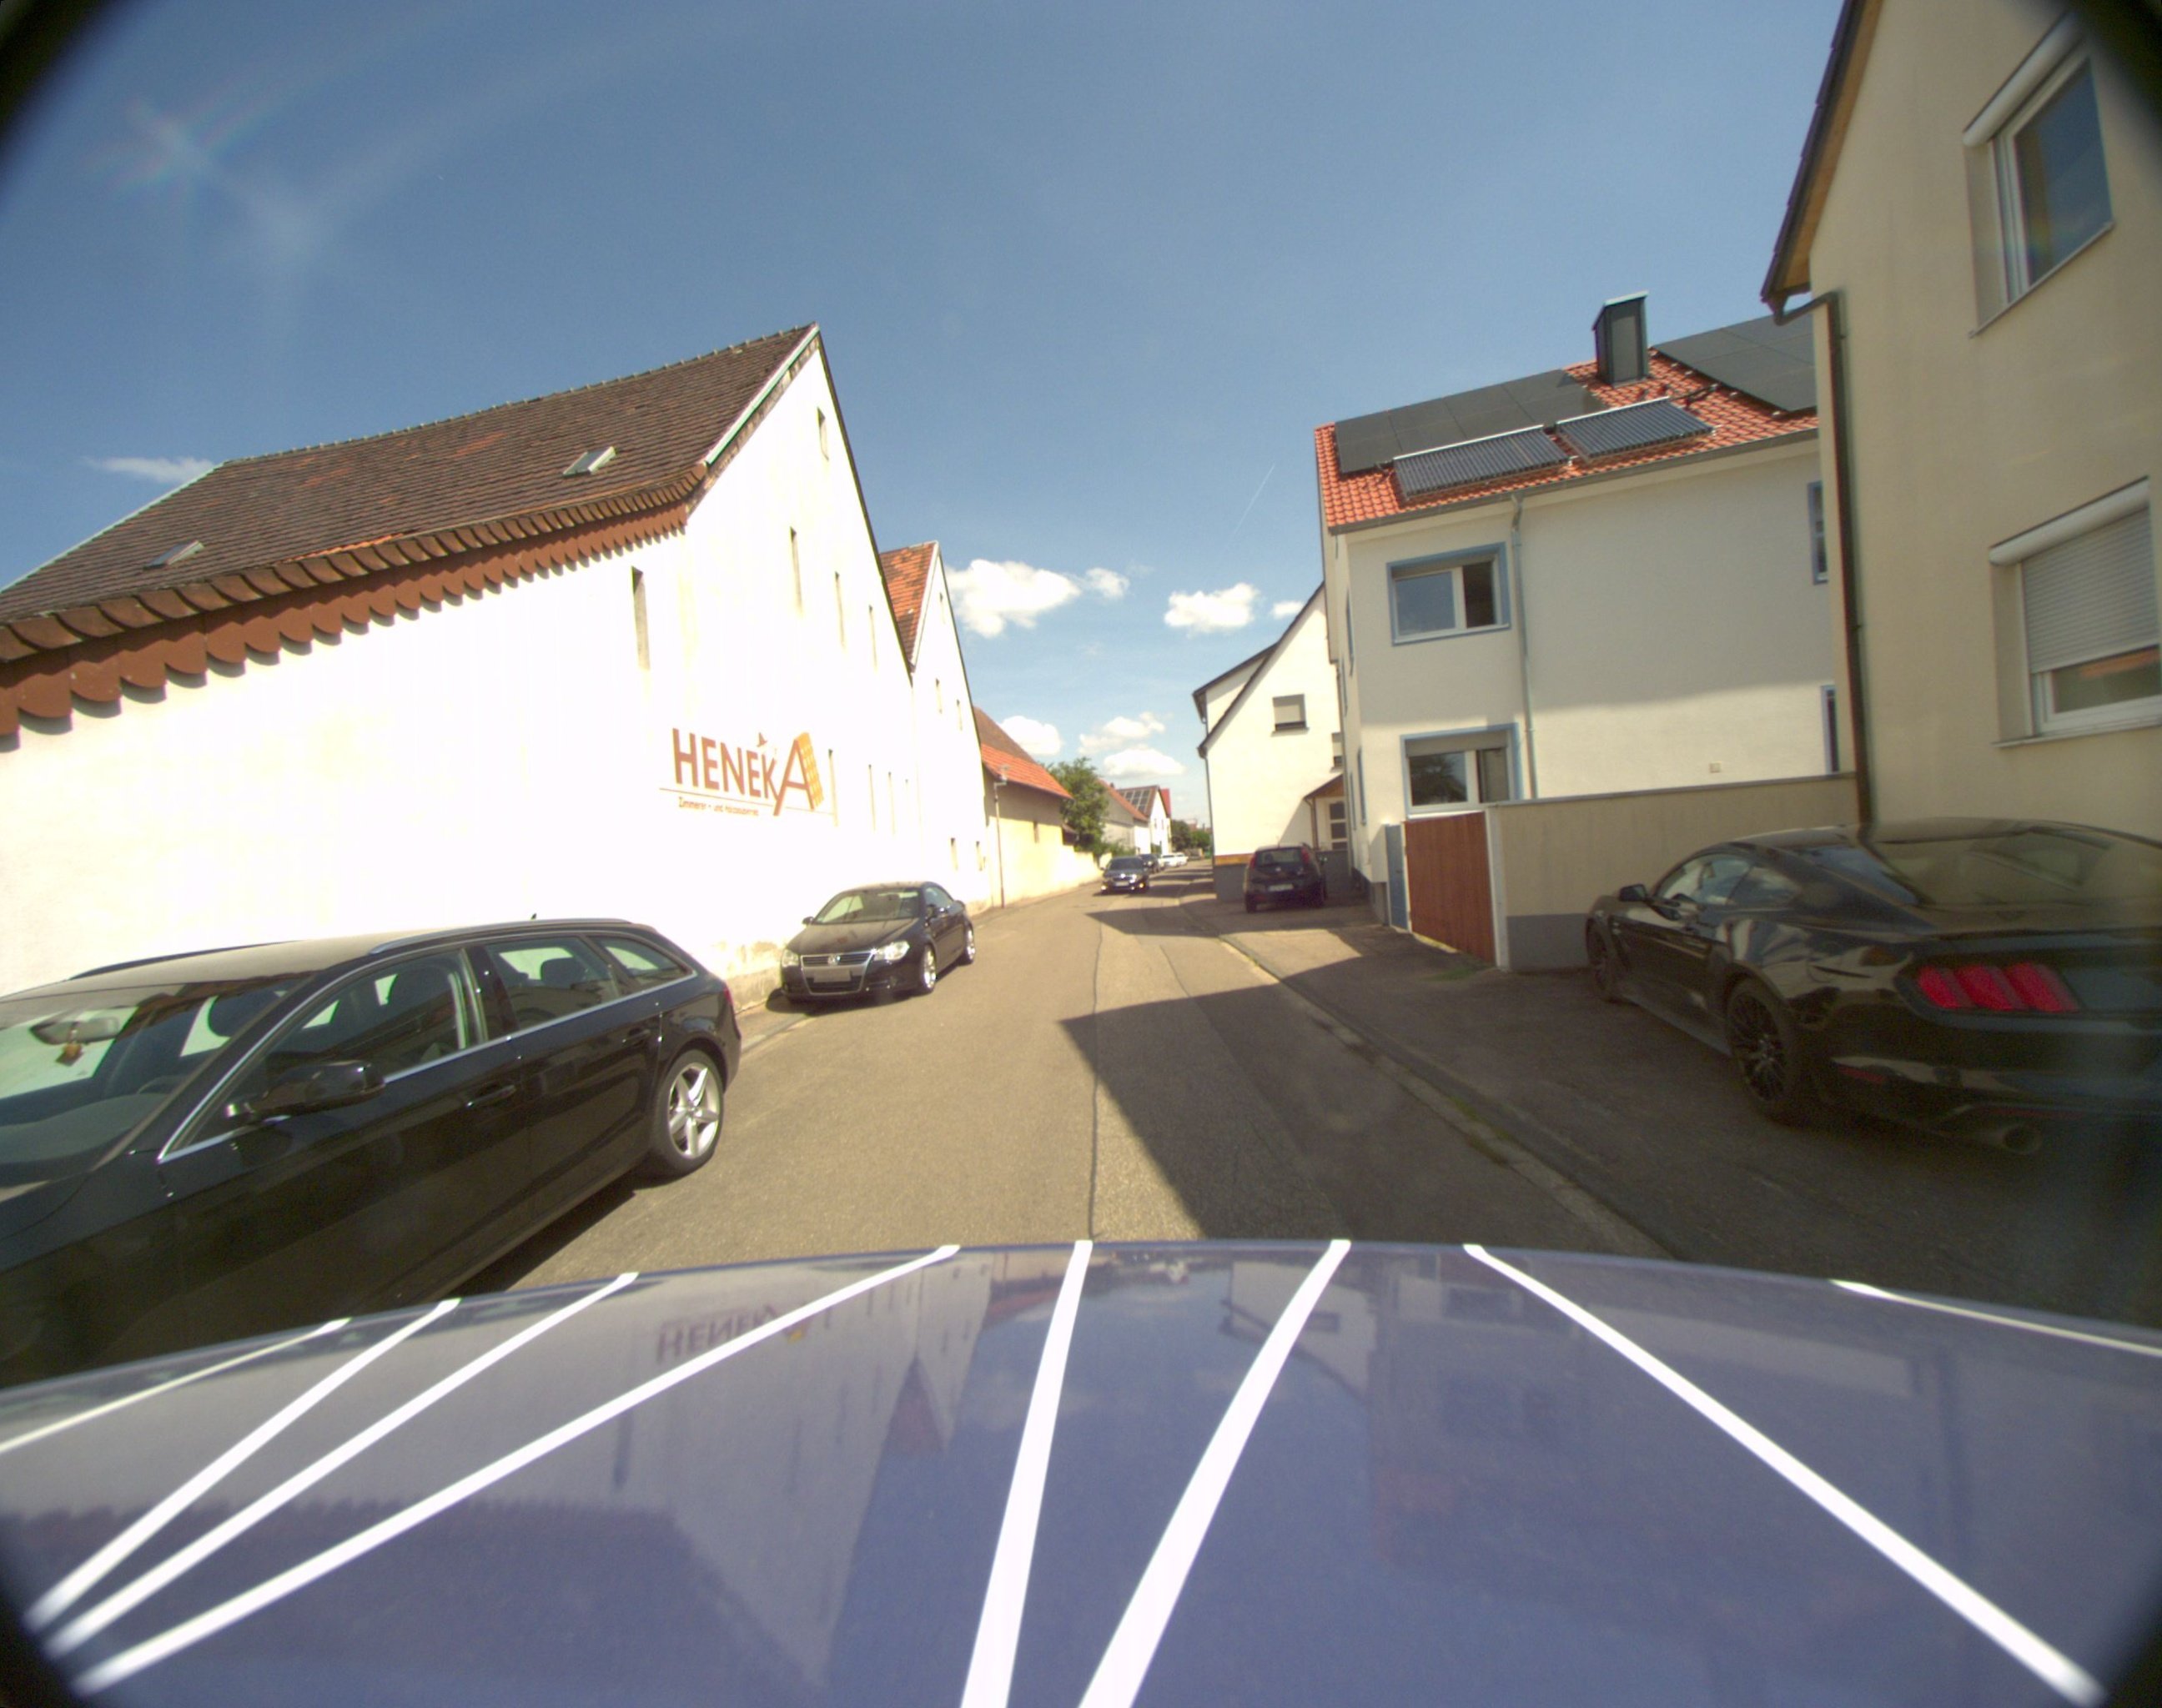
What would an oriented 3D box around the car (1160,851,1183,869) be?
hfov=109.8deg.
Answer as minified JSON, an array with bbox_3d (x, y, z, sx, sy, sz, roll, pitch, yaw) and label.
[{"bbox_3d":[9.202,0.564,77.387,1.783,1.491,4.042,-7,0,12],"label":"car"}]

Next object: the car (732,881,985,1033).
[{"bbox_3d":[-2.739,1.223,10.579,1.900,1.357,4.415,-5,0,3],"label":"car"}]

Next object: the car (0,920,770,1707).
[{"bbox_3d":[-3.094,1.194,2.583,1.900,1.357,4.737,-5,0,2],"label":"car"}]

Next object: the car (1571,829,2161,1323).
[{"bbox_3d":[4.398,0.644,4.270,1.772,1.341,4.475,-6,0,21],"label":"car"}]

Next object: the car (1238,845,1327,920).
[{"bbox_3d":[4.868,0.605,18.040,1.640,1.446,3.791,-6,-1,19],"label":"car"}]

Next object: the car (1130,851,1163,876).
[{"bbox_3d":[4.971,0.681,57.373,1.783,1.600,4.003,-7,0,12],"label":"car"}]

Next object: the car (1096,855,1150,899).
[{"bbox_3d":[1.809,0.887,31.098,1.784,1.526,4.712,-3,0,7],"label":"car"}]

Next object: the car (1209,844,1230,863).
[{"bbox_3d":[13.804,-0.070,75.596,1.783,1.600,4.003,-7,0,12],"label":"car"}]

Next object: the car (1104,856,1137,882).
[{"bbox_3d":[2.537,0.924,48.209,1.784,1.470,4.001,-4,0,6],"label":"car"}]

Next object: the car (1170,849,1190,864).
[{"bbox_3d":[11.712,0.264,89.693,1.783,1.491,4.042,-7,0,12],"label":"car"}]
